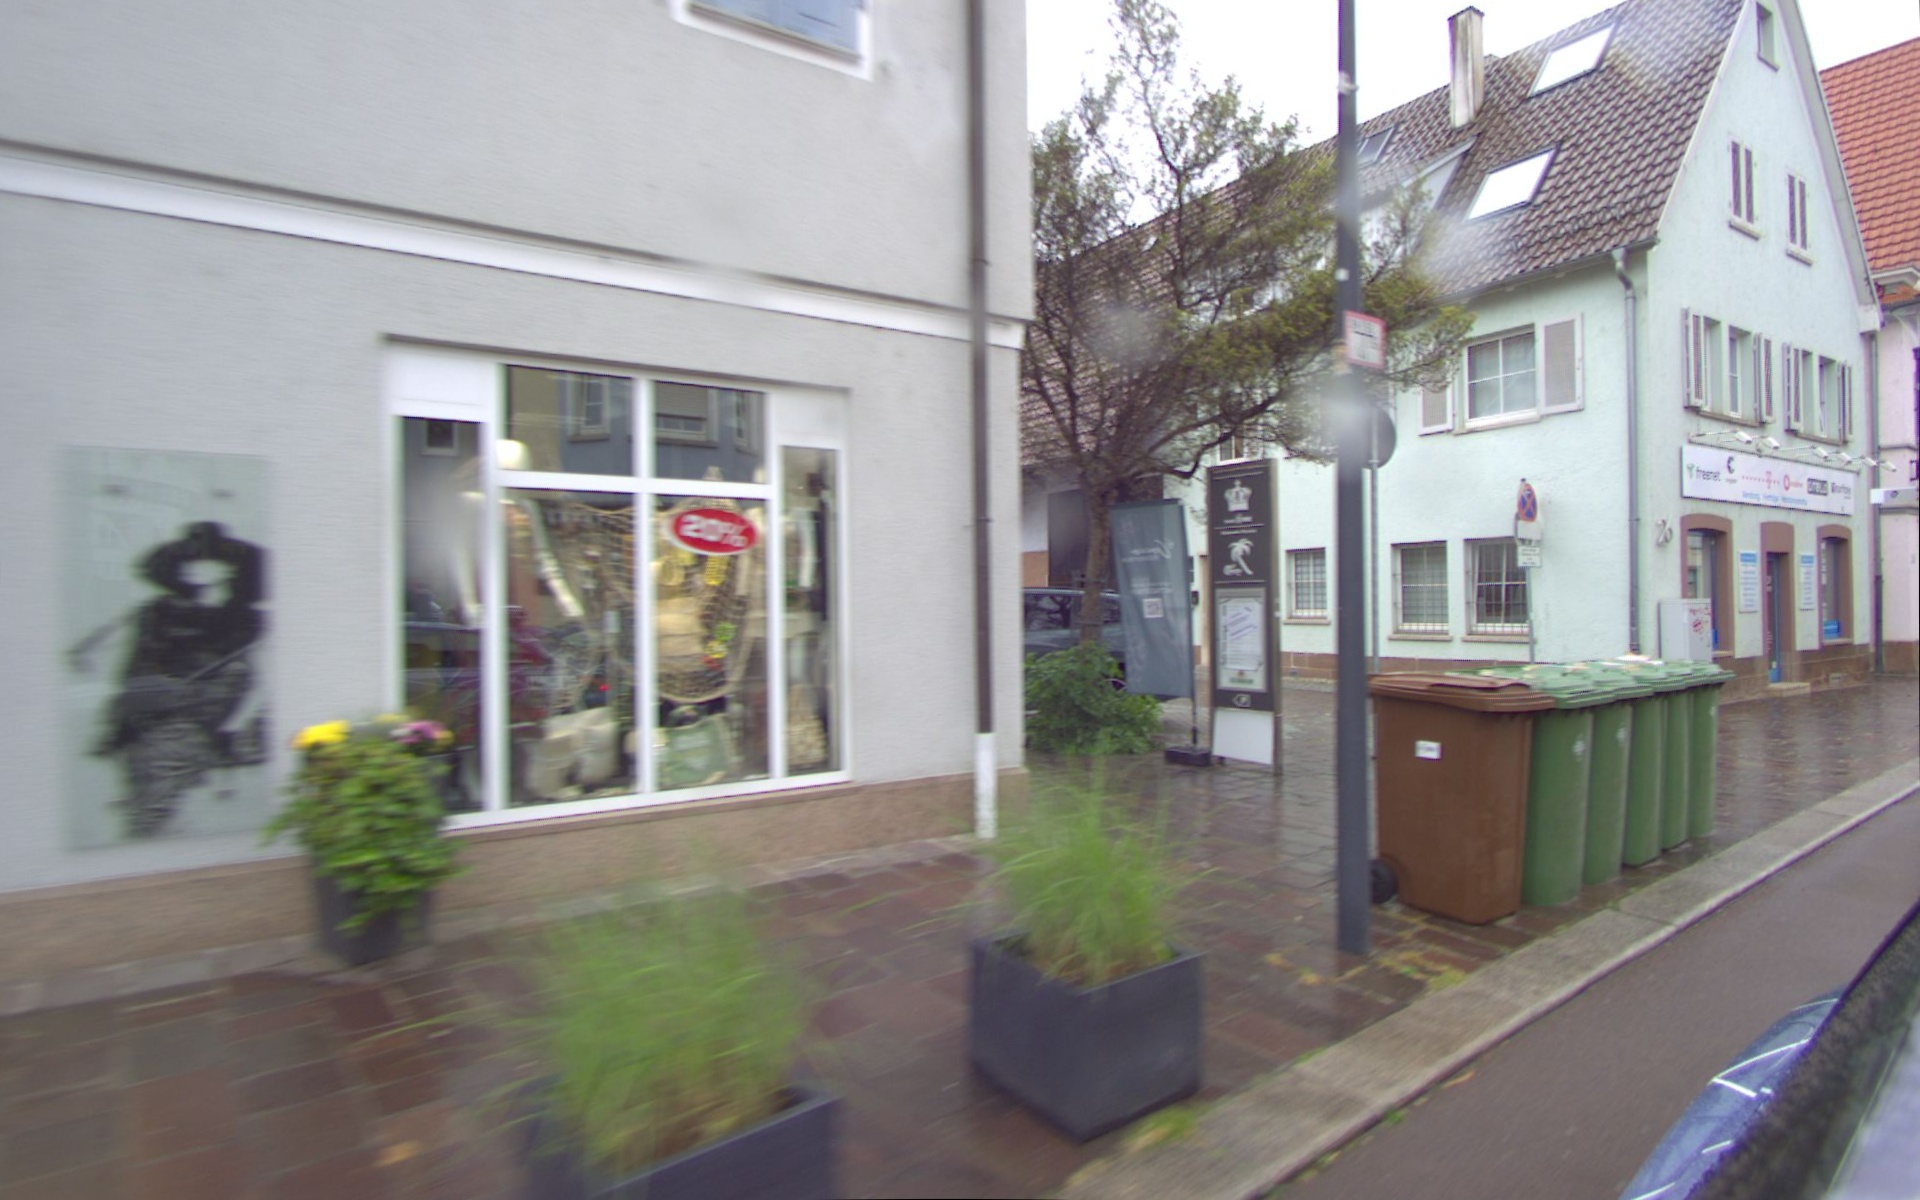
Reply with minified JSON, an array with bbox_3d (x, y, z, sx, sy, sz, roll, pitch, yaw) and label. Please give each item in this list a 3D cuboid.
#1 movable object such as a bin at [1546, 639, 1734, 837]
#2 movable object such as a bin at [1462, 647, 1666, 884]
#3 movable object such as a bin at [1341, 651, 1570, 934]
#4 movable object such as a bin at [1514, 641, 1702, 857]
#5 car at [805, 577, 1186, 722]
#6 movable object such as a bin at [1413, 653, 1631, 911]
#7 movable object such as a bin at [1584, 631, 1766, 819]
[{"bbox_3d":[4.137,0.795,6.175,0.589,1.077,0.756,-2,-1,-36],"label":"movable object such as a bin"},{"bbox_3d":[3.228,0.833,5.432,0.600,1.112,0.737,-1,-1,-37],"label":"movable object such as a bin"},{"bbox_3d":[2.273,0.818,4.662,0.644,1.104,0.755,0,0,-39],"label":"movable object such as a bin"},{"bbox_3d":[3.680,0.800,5.773,0.511,1.105,0.731,-1,-1,-35],"label":"movable object such as a bin"},{"bbox_3d":[0.396,0.564,12.387,4.308,1.620,1.888,0,-1,1],"label":"car"},{"bbox_3d":[2.783,0.844,5.038,0.600,1.112,0.737,-1,-1,-37],"label":"movable object such as a bin"},{"bbox_3d":[4.605,0.761,6.537,0.588,1.093,0.770,-1,-1,-36],"label":"movable object such as a bin"}]
